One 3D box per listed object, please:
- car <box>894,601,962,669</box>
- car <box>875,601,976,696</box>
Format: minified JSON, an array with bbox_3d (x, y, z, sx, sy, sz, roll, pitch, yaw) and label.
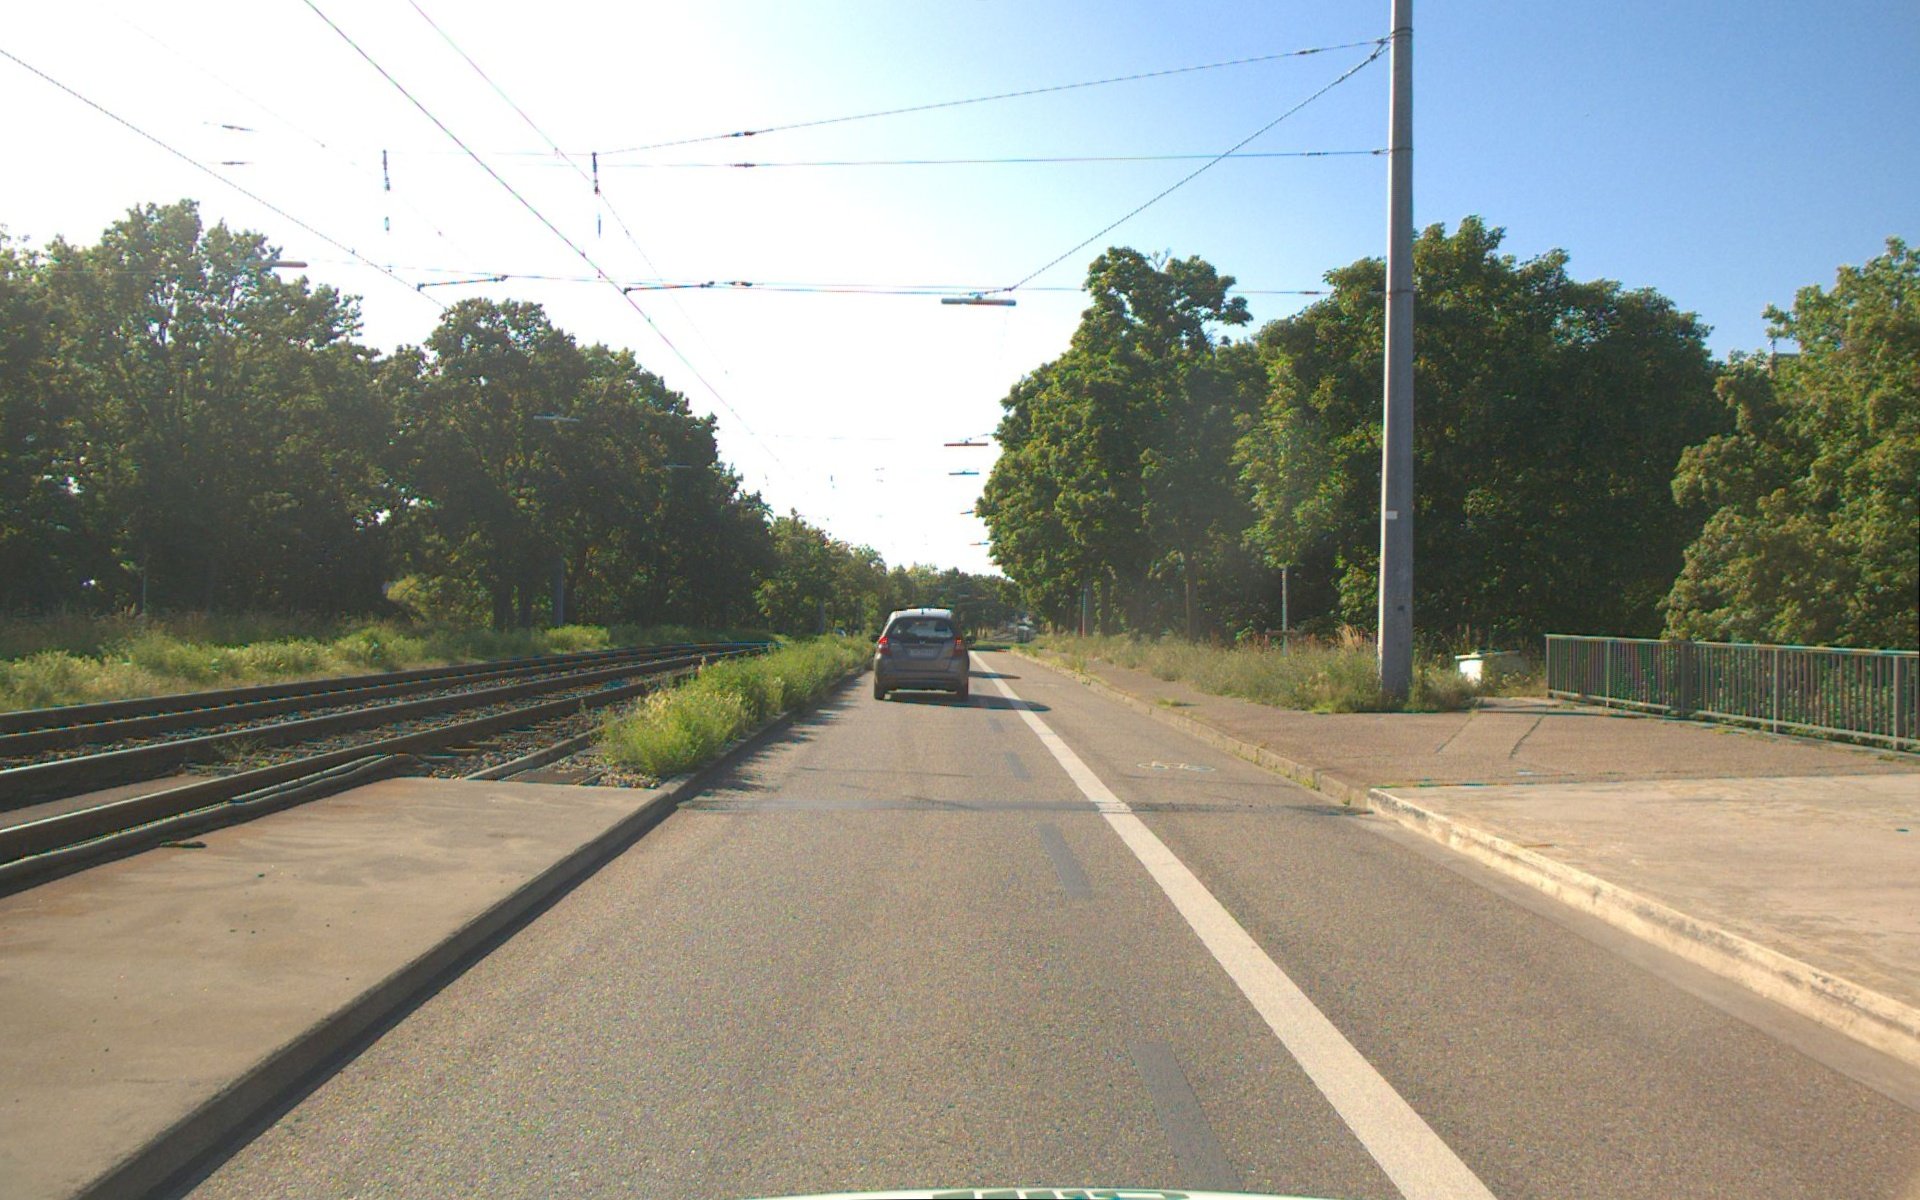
[{"bbox_3d":[-0.797,0.872,42.863,1.621,1.533,3.811,2,1,0],"label":"car"},{"bbox_3d":[-0.578,0.847,29.650,1.636,1.534,3.810,2,-1,0],"label":"car"}]
